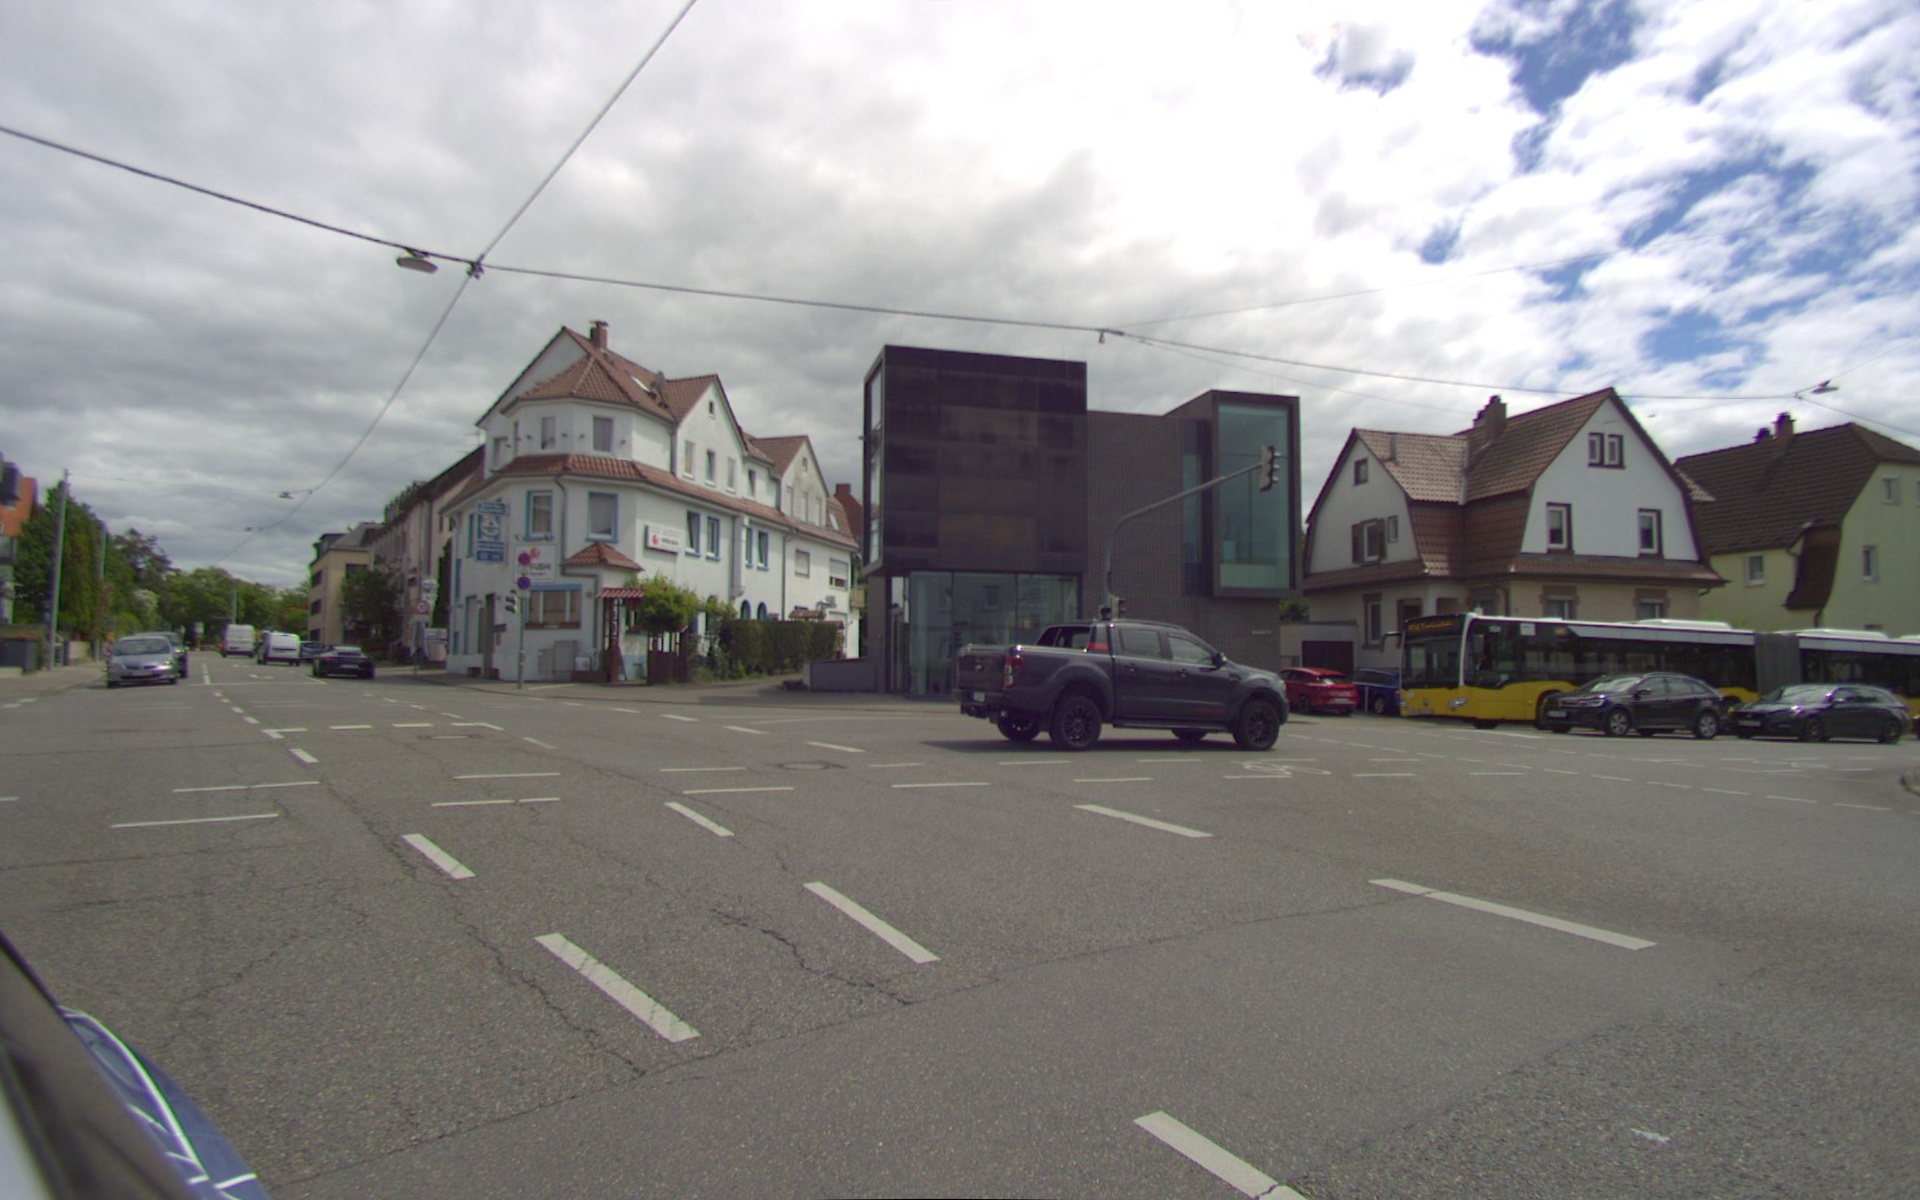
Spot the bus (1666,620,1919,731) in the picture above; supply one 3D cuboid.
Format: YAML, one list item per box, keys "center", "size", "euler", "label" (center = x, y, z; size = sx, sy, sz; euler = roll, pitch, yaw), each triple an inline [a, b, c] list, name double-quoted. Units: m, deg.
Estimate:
- center: [25.512, 2.229, 29.575]
  size: [9.035, 2.937, 2.794]
  euler: [2, -3, -15]
  label: "bus"

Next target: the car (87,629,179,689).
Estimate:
- center: [-25.339, 1.785, 31.136]
  size: [1.967, 1.697, 4.008]
  euler: [3, -4, -37]
  label: "car"

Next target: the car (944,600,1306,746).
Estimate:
- center: [2.501, 1.076, 14.949]
  size: [5.130, 1.863, 1.894]
  euler: [3, -4, -27]
  label: "car"

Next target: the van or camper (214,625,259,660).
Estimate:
- center: [-57.434, 3.412, 80.288]
  size: [2.082, 2.606, 5.651]
  euler: [7, -7, -42]
  label: "van or camper"

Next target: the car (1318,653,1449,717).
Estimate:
- center: [14.459, 2.875, 34.837]
  size: [1.966, 1.696, 4.013]
  euler: [2, 1, -17]
  label: "car"

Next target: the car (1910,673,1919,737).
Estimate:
- center: [27.153, 2.771, 26.069]
  size: [3.933, 1.652, 2.005]
  euler: [2, -3, -13]
  label: "car"

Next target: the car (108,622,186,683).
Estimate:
- center: [-28.794, 1.841, 35.946]
  size: [1.968, 2.029, 4.008]
  euler: [3, -4, -38]
  label: "car"

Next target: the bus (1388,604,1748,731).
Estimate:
- center: [16.386, 1.863, 27.359]
  size: [9.035, 3.083, 2.794]
  euler: [2, -3, -15]
  label: "bus"

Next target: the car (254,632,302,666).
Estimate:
- center: [-39.398, 2.854, 58.460]
  size: [1.793, 1.826, 4.426]
  euler: [5, -5, -39]
  label: "car"

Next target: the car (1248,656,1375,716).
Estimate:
- center: [11.654, 2.823, 33.866]
  size: [1.966, 1.652, 4.012]
  euler: [2, 0, -17]
  label: "car"

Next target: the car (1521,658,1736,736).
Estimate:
- center: [15.565, 2.249, 23.667]
  size: [3.933, 1.652, 2.005]
  euler: [2, -3, -13]
  label: "car"

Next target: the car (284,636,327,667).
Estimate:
- center: [-44.568, 3.523, 68.888]
  size: [1.968, 2.029, 4.007]
  euler: [4, -4, -39]
  label: "car"

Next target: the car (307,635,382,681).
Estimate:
- center: [-23.450, 2.169, 38.492]
  size: [1.967, 1.541, 4.009]
  euler: [7, -5, -36]
  label: "car"

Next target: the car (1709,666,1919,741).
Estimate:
- center: [20.768, 2.488, 24.508]
  size: [4.113, 1.652, 2.005]
  euler: [2, -3, -13]
  label: "car"
